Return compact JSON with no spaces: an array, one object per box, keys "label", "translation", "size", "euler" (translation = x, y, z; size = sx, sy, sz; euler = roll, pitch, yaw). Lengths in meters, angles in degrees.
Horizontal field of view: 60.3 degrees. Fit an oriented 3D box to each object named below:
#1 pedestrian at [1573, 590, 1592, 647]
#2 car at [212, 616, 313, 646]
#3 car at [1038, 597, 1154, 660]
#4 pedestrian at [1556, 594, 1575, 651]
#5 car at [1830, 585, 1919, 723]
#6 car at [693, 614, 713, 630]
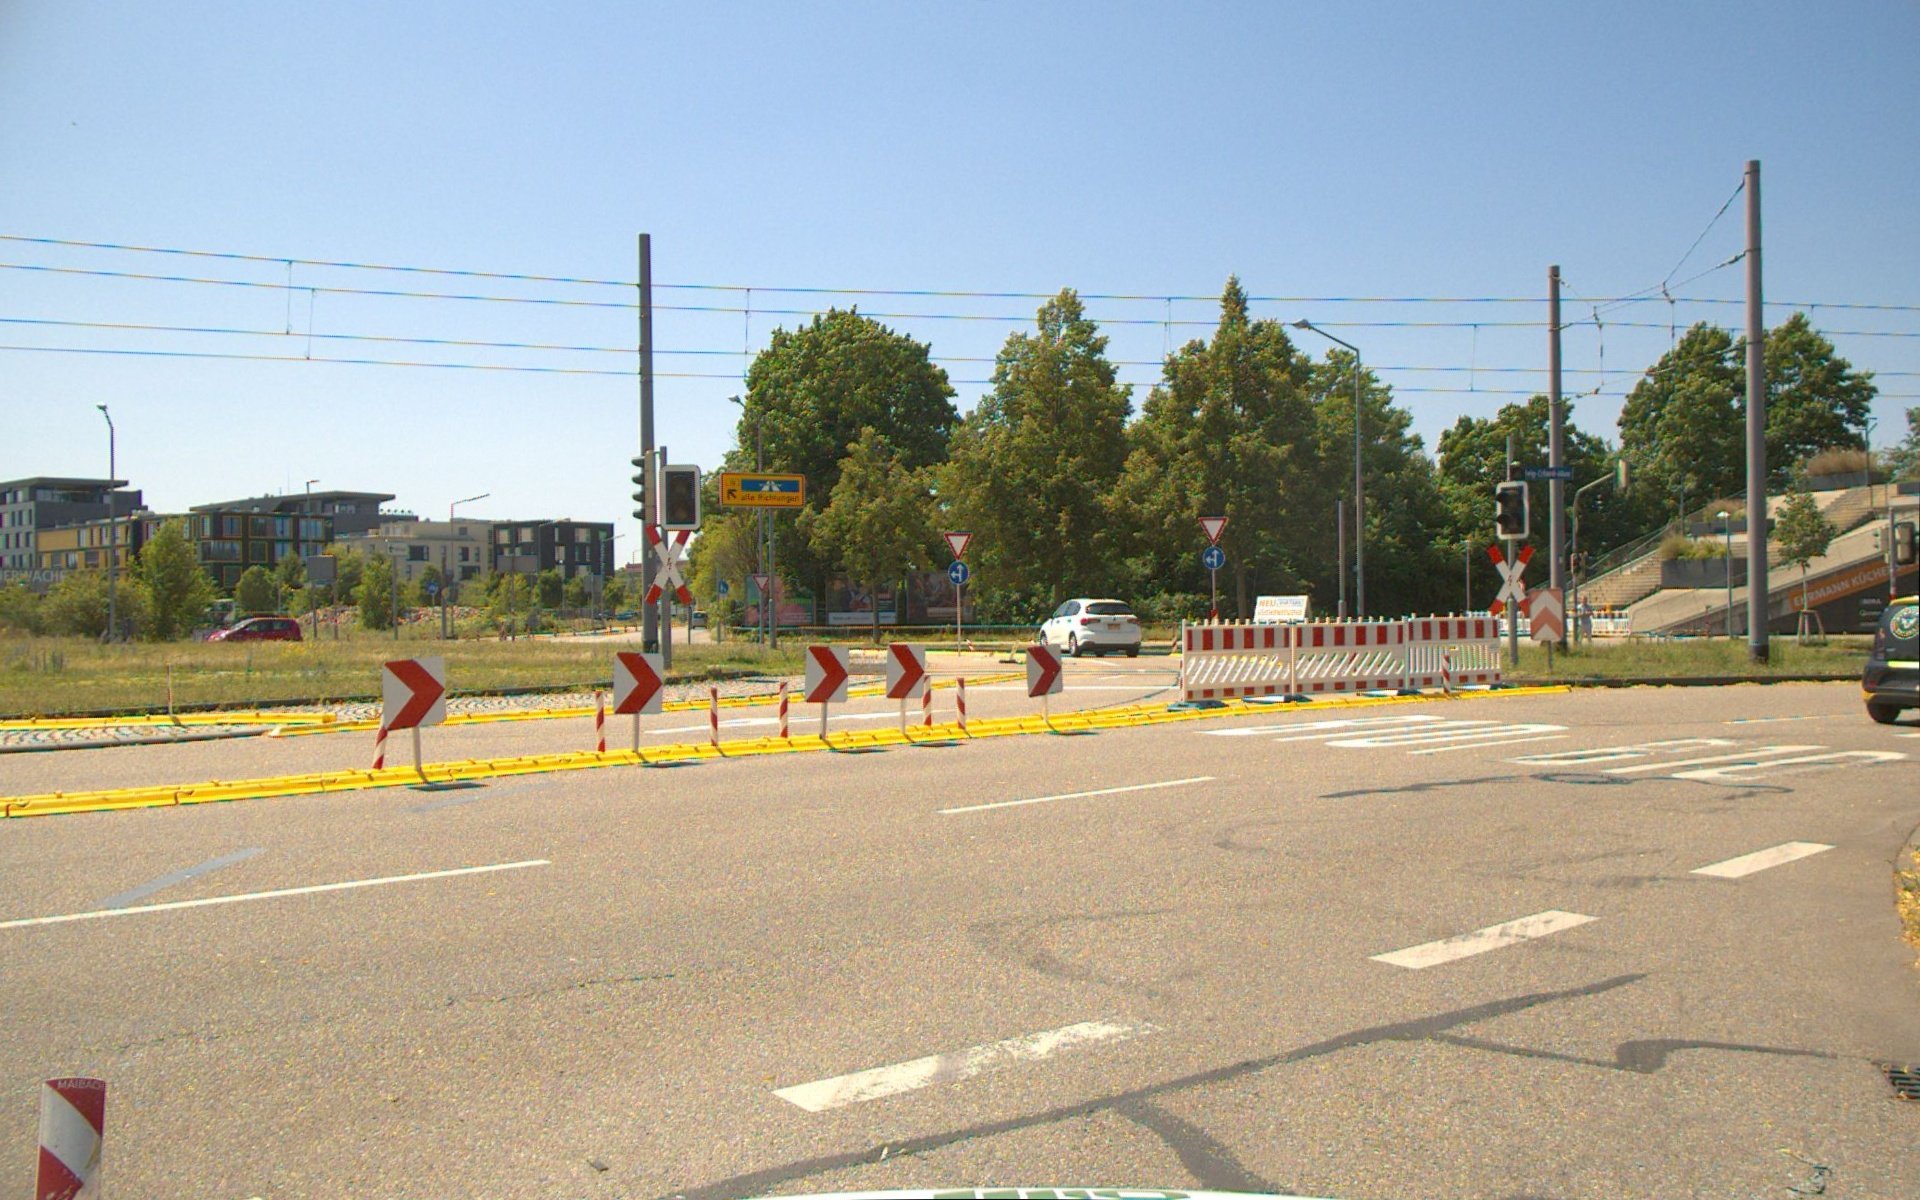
[{"label":"pedestrian","translation":[19.468,0.586,51.710],"size":[0.439,1.769,0.318],"euler":[0,0,-3]},{"label":"car","translation":[-28.215,1.232,66.945],"size":[3.490,1.109,1.475],"euler":[-1,0,-42]},{"label":"car","translation":[3.478,0.713,43.128],"size":[1.957,1.512,4.356],"euler":[-1,0,-10]},{"label":"pedestrian","translation":[18.928,0.700,51.700],"size":[0.439,1.769,0.291],"euler":[0,0,-3]},{"label":"car","translation":[11.782,0.593,18.962],"size":[3.940,1.477,1.604],"euler":[0,-1,-35]},{"label":"car","translation":[-23.736,2.042,152.620],"size":[1.626,1.396,3.028],"euler":[-1,0,-5]}]
